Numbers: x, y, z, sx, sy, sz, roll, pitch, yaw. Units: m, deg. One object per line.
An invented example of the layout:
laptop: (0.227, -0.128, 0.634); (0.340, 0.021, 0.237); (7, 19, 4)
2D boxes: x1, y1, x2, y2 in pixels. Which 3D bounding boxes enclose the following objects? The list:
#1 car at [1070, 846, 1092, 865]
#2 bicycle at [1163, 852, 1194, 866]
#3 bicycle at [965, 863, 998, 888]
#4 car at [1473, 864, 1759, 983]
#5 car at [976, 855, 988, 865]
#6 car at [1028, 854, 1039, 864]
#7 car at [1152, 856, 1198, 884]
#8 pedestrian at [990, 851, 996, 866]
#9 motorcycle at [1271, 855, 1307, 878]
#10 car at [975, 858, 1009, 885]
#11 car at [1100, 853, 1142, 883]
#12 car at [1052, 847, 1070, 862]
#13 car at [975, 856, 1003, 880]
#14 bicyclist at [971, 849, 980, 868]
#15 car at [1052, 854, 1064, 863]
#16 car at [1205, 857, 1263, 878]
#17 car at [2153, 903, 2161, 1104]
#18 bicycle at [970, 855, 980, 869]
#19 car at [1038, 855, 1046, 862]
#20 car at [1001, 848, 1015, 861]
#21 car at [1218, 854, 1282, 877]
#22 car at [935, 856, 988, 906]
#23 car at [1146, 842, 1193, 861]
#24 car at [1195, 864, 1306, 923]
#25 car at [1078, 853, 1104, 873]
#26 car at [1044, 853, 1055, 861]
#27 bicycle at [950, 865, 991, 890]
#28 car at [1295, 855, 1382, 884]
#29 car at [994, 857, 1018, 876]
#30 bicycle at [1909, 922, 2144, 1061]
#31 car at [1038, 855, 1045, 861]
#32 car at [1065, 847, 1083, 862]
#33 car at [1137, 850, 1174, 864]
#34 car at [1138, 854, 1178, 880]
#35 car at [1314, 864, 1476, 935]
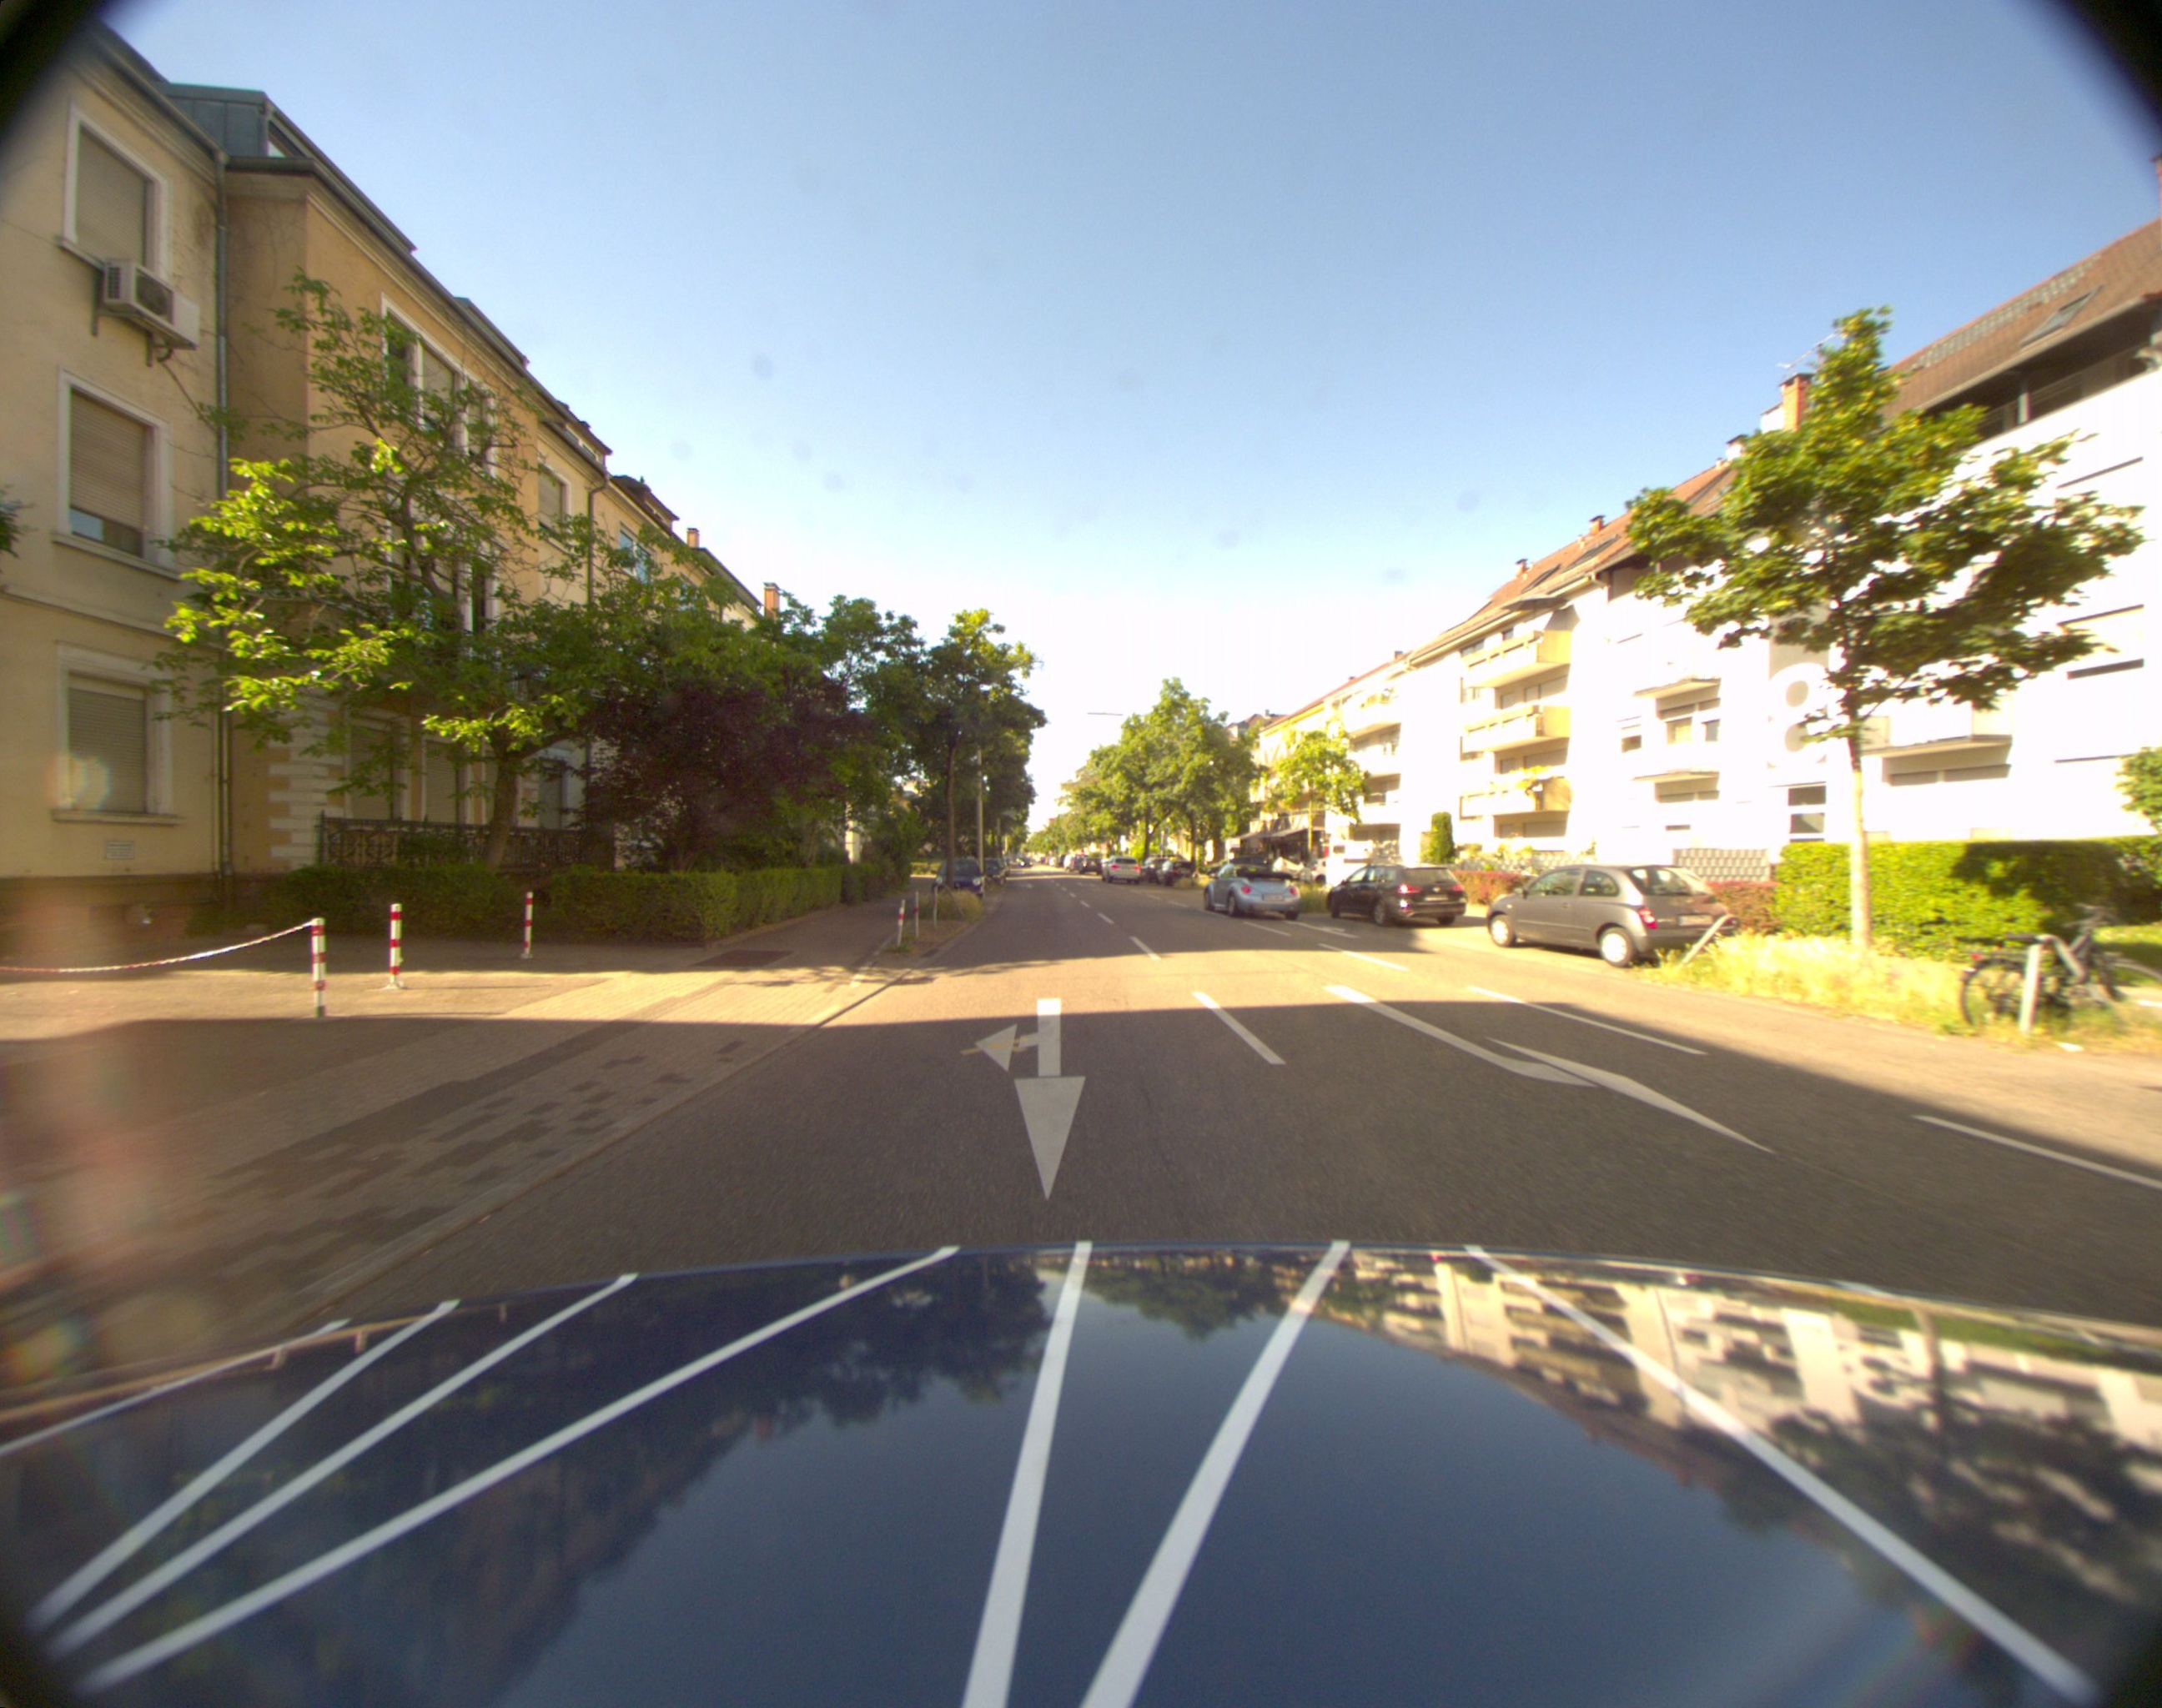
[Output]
car: (-0.050, 0.171, 80.859); (1.808, 1.899, 4.709); (3, 0, -5)
bicycle: (9.242, 0.423, 71.617); (3.181, 1.255, 0.949); (-1, 3, -39)
bicycle: (-4.936, 1.054, 37.715); (1.671, 1.230, 0.470); (0, 1, -43)
car: (8.241, 0.960, 12.158); (1.680, 1.516, 3.656); (-2, 0, -8)
car: (-14.831, 0.871, 114.208); (1.536, 1.348, 3.716); (3, 0, -5)
car: (-7.310, 0.748, 115.720); (1.655, 1.348, 4.302); (0, 0, -4)
car: (5.406, 0.883, 44.075); (1.727, 1.527, 4.678); (-1, 0, -5)
pedestrian: (-10.006, 0.464, 86.549); (0.671, 1.672, 0.775); (1, 1, -5)
motorcycle: (13.332, 0.807, 48.736); (2.155, 1.477, 0.781); (-1, 0, 4)
car: (-4.825, 0.934, 41.393); (1.616, 1.375, 3.974); (1, 0, -4)
car: (2.366, 0.824, 46.430); (1.812, 1.638, 4.670); (2, 0, -5)
car: (-2.852, 0.065, 105.975); (2.022, 1.940, 5.175); (2, 0, -6)
car: (-5.906, 0.871, 49.142); (1.719, 1.480, 4.231); (1, 0, -6)
bicyclist: (-9.690, 0.410, 69.633); (0.726, 1.783, 1.015); (1, 0, -5)
car: (-3.740, 0.660, 123.960); (1.738, 1.404, 4.190); (2, 0, -5)
car: (10.998, 0.957, 54.448); (3.993, 1.447, 1.735); (-1, 0, 14)
car: (8.733, 1.031, 3.320); (1.773, 1.400, 4.363); (0, 0, -8)
bicycle: (-9.707, 0.692, 69.633); (0.700, 1.239, 1.821); (1, 0, -5)
car: (-8.644, 0.991, 168.902); (1.586, 1.443, 3.742); (1, 0, -7)
car: (-9.828, 0.067, 102.668); (1.774, 1.649, 4.338); (1, 0, -6)
car: (11.369, 0.756, 51.397); (3.996, 1.452, 1.733); (-1, 0, 4)
car: (-4.013, 0.866, 25.866); (1.564, 1.506, 3.652); (2, 0, -6)
car: (8.824, -0.252, 75.859); (4.335, 1.868, 1.875); (-1, 0, -28)
car: (4.448, 1.006, 20.548); (1.743, 1.373, 3.934); (2, 0, -5)
car: (0.857, 0.767, 67.064); (1.724, 1.557, 4.340); (3, 0, -5)
car: (-5.973, 0.563, 143.809); (1.586, 1.443, 3.742); (1, 0, -7)
bicycle: (-4.962, 1.047, 34.136); (1.743, 1.016, 0.524); (2, 3, 3)
car: (13.749, 0.807, 40.738); (3.999, 1.478, 1.880); (-1, 0, -5)
car: (-5.901, 0.960, 60.079); (1.697, 1.419, 4.145); (1, 0, -3)
bicycle: (8.429, 1.203, 6.798); (1.548, 1.127, 0.548); (1, 0, -6)
car: (-9.763, 1.051, 186.822); (1.586, 1.443, 3.742); (1, 0, -7)
car: (-0.859, 0.075, 91.796); (1.821, 1.732, 4.490); (2, 0, -5)
car: (8.069, 0.341, 82.634); (3.917, 1.480, 1.632); (-1, 0, 0)
car: (4.954, 0.829, 49.507); (1.727, 1.587, 4.133); (-1, 0, -7)
car: (7.518, 1.014, 18.743); (1.791, 1.484, 4.491); (0, 0, -6)
